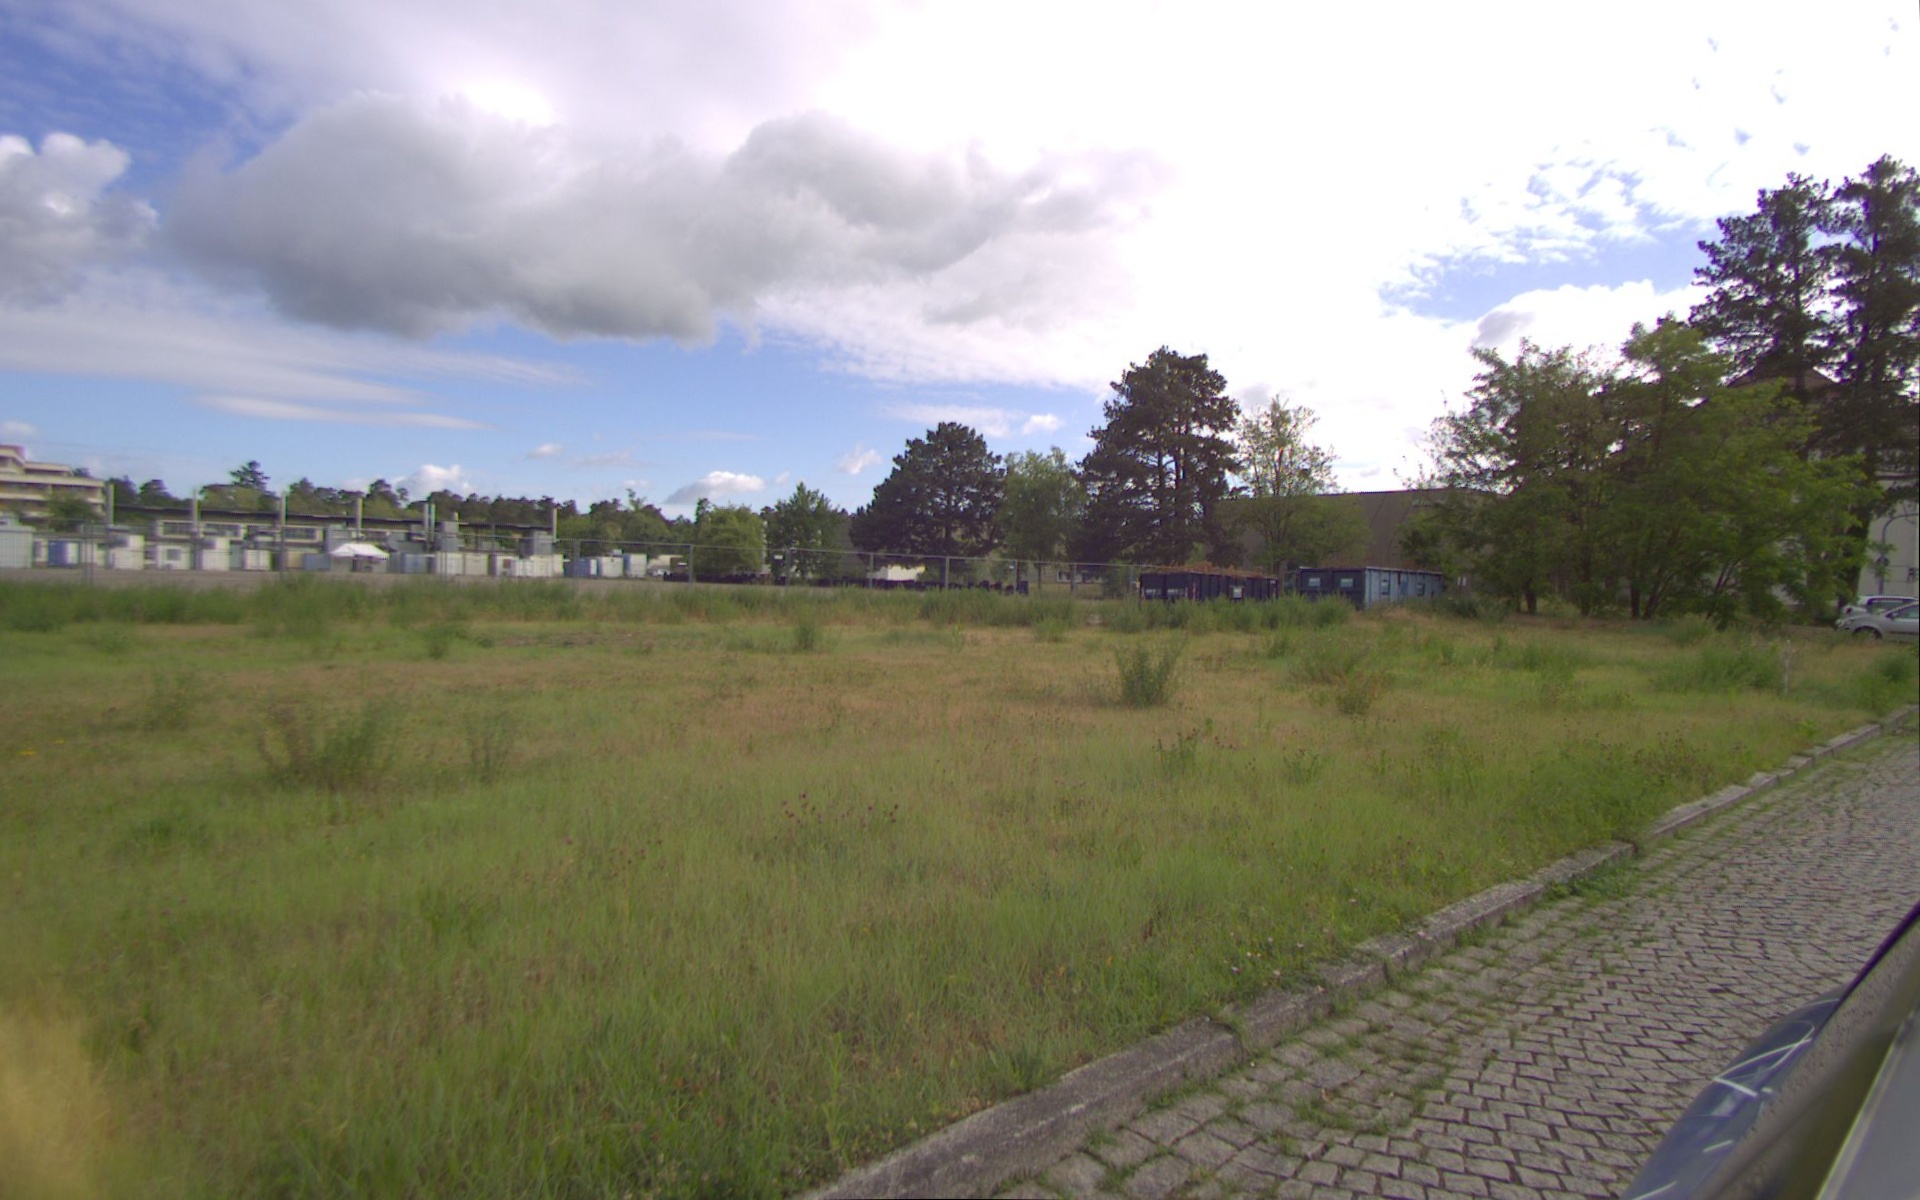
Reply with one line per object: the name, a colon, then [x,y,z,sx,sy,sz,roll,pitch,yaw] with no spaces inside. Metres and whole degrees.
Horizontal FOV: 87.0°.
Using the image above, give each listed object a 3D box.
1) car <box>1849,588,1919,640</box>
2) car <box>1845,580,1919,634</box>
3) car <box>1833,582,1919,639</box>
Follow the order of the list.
car: [30.449,0.526,31.369,1.853,1.470,4.082,0,4,-42]
car: [32.206,0.309,33.436,1.854,1.615,4.247,0,4,-43]
car: [28.433,0.376,29.633,1.773,1.533,4.082,0,4,-42]
